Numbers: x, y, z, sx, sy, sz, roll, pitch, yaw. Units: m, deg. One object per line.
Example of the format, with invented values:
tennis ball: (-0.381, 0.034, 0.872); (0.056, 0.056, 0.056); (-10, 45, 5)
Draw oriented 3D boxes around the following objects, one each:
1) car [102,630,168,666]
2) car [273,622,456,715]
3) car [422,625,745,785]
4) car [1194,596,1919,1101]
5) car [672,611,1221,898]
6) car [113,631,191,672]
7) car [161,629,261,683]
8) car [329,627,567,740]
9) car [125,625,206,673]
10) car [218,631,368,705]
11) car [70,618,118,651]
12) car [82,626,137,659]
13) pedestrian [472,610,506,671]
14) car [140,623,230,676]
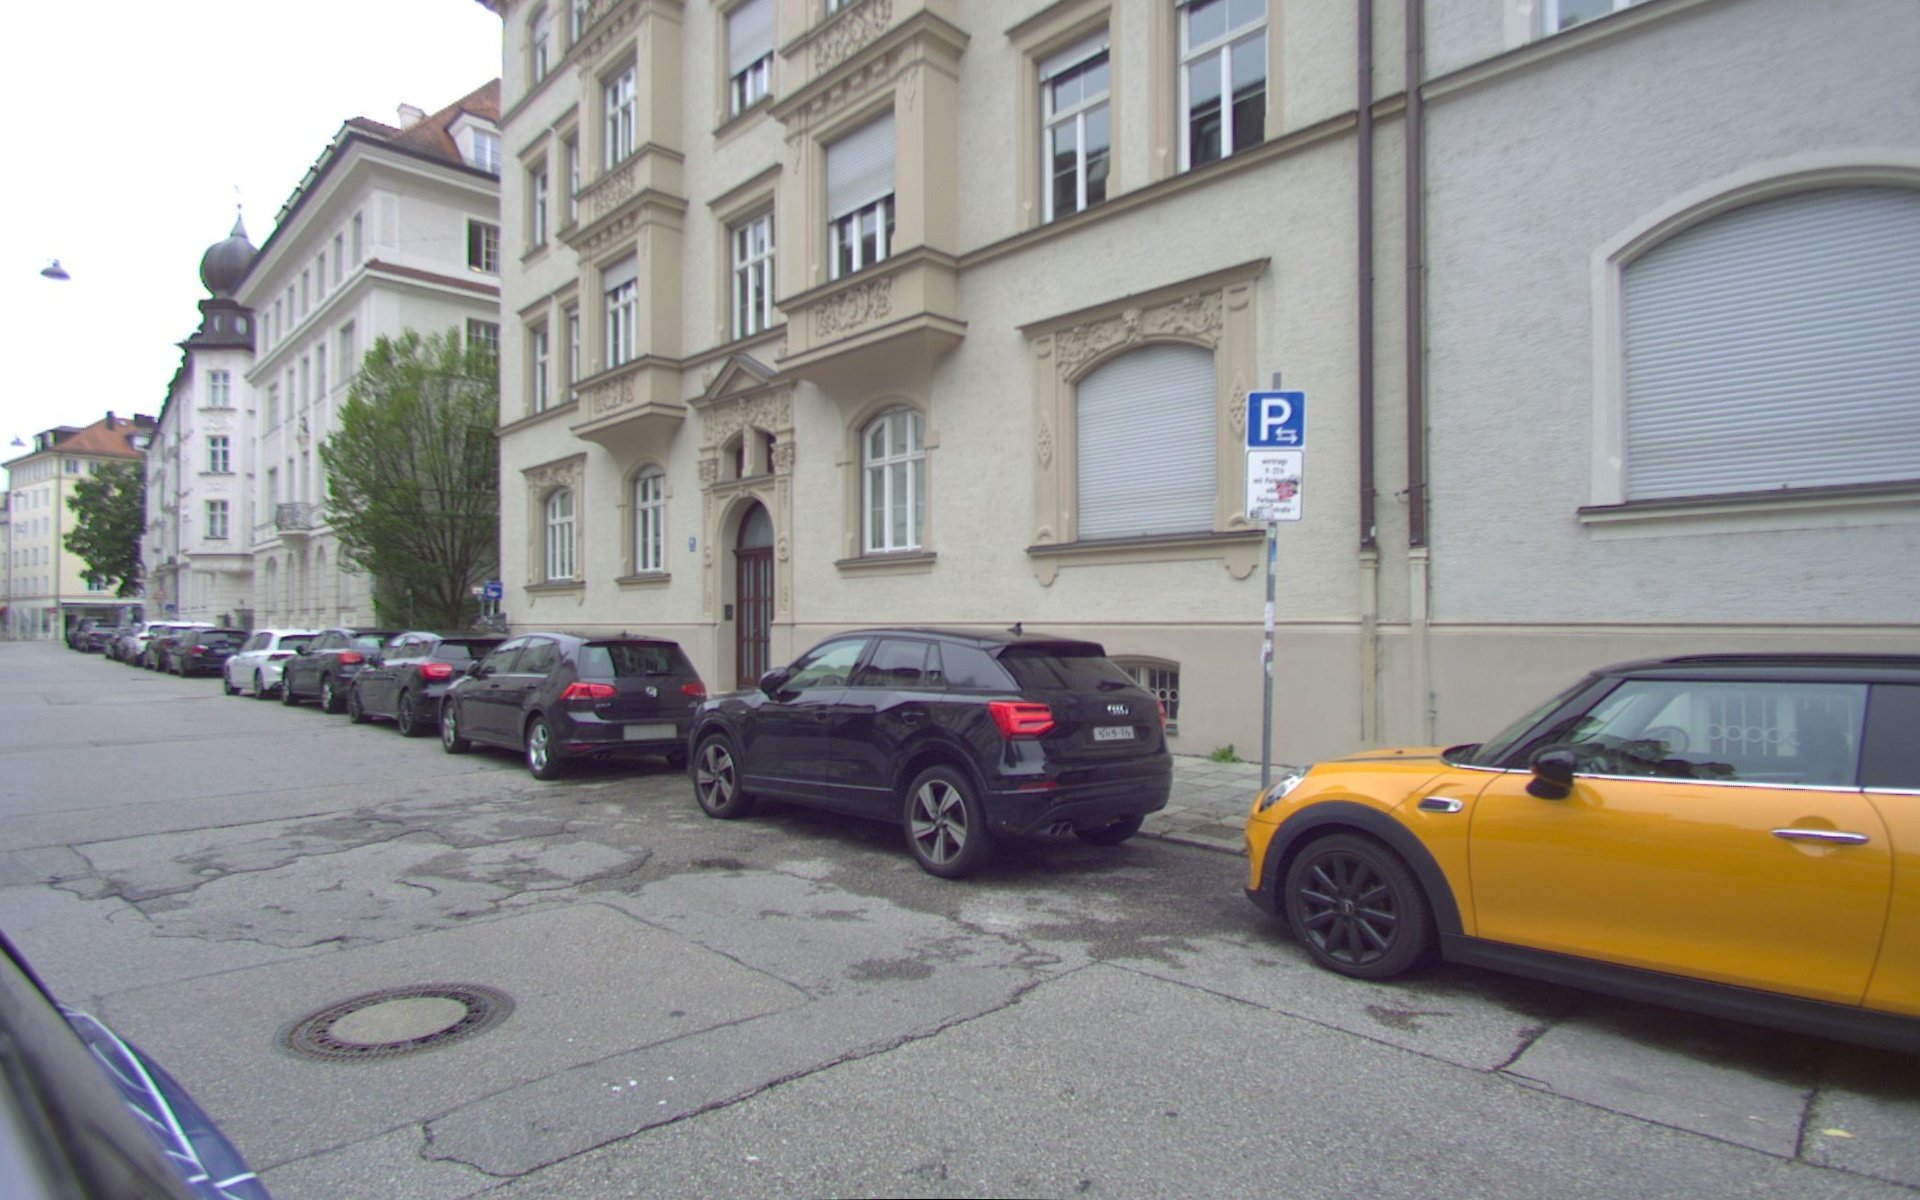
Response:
car: (-35.872, 2.067, 43.976); (1.772, 1.426, 4.281); (4, -4, -44)
car: (-11.182, 1.240, 18.875); (4.386, 1.530, 1.750); (-2, -5, 44)
car: (-4.355, 1.058, 11.350); (1.815, 1.447, 4.248); (5, -5, -44)
car: (3.090, 0.807, 4.042); (1.621, 1.511, 3.975); (5, -5, -43)
car: (-0.320, 0.895, 7.415); (1.732, 1.511, 4.022); (4, -4, -44)
car: (-32.506, 2.039, 40.697); (4.257, 1.553, 1.763); (-1, -4, 42)
car: (-21.934, 1.596, 29.572); (1.766, 1.423, 4.369); (1, -2, -45)
car: (-7.809, 1.167, 15.232); (4.555, 1.445, 1.812); (-2, -4, 45)
car: (-29.012, 1.752, 36.904); (1.892, 1.631, 4.575); (1, -2, -44)
car: (-14.505, 1.426, 21.933); (4.246, 1.445, 1.815); (-2, -4, 44)
car: (-51.618, 2.078, 60.301); (1.815, 1.909, 4.766); (3, -4, -44)
car: (-43.734, 2.175, 52.019); (4.123, 1.631, 1.707); (-2, -4, 44)
pedestrian: (-12.893, 1.105, 27.712); (0.631, 1.638, 0.666); (-2, -2, 43)
car: (-25.333, 1.581, 33.036); (1.815, 1.631, 4.247); (1, -2, -45)
